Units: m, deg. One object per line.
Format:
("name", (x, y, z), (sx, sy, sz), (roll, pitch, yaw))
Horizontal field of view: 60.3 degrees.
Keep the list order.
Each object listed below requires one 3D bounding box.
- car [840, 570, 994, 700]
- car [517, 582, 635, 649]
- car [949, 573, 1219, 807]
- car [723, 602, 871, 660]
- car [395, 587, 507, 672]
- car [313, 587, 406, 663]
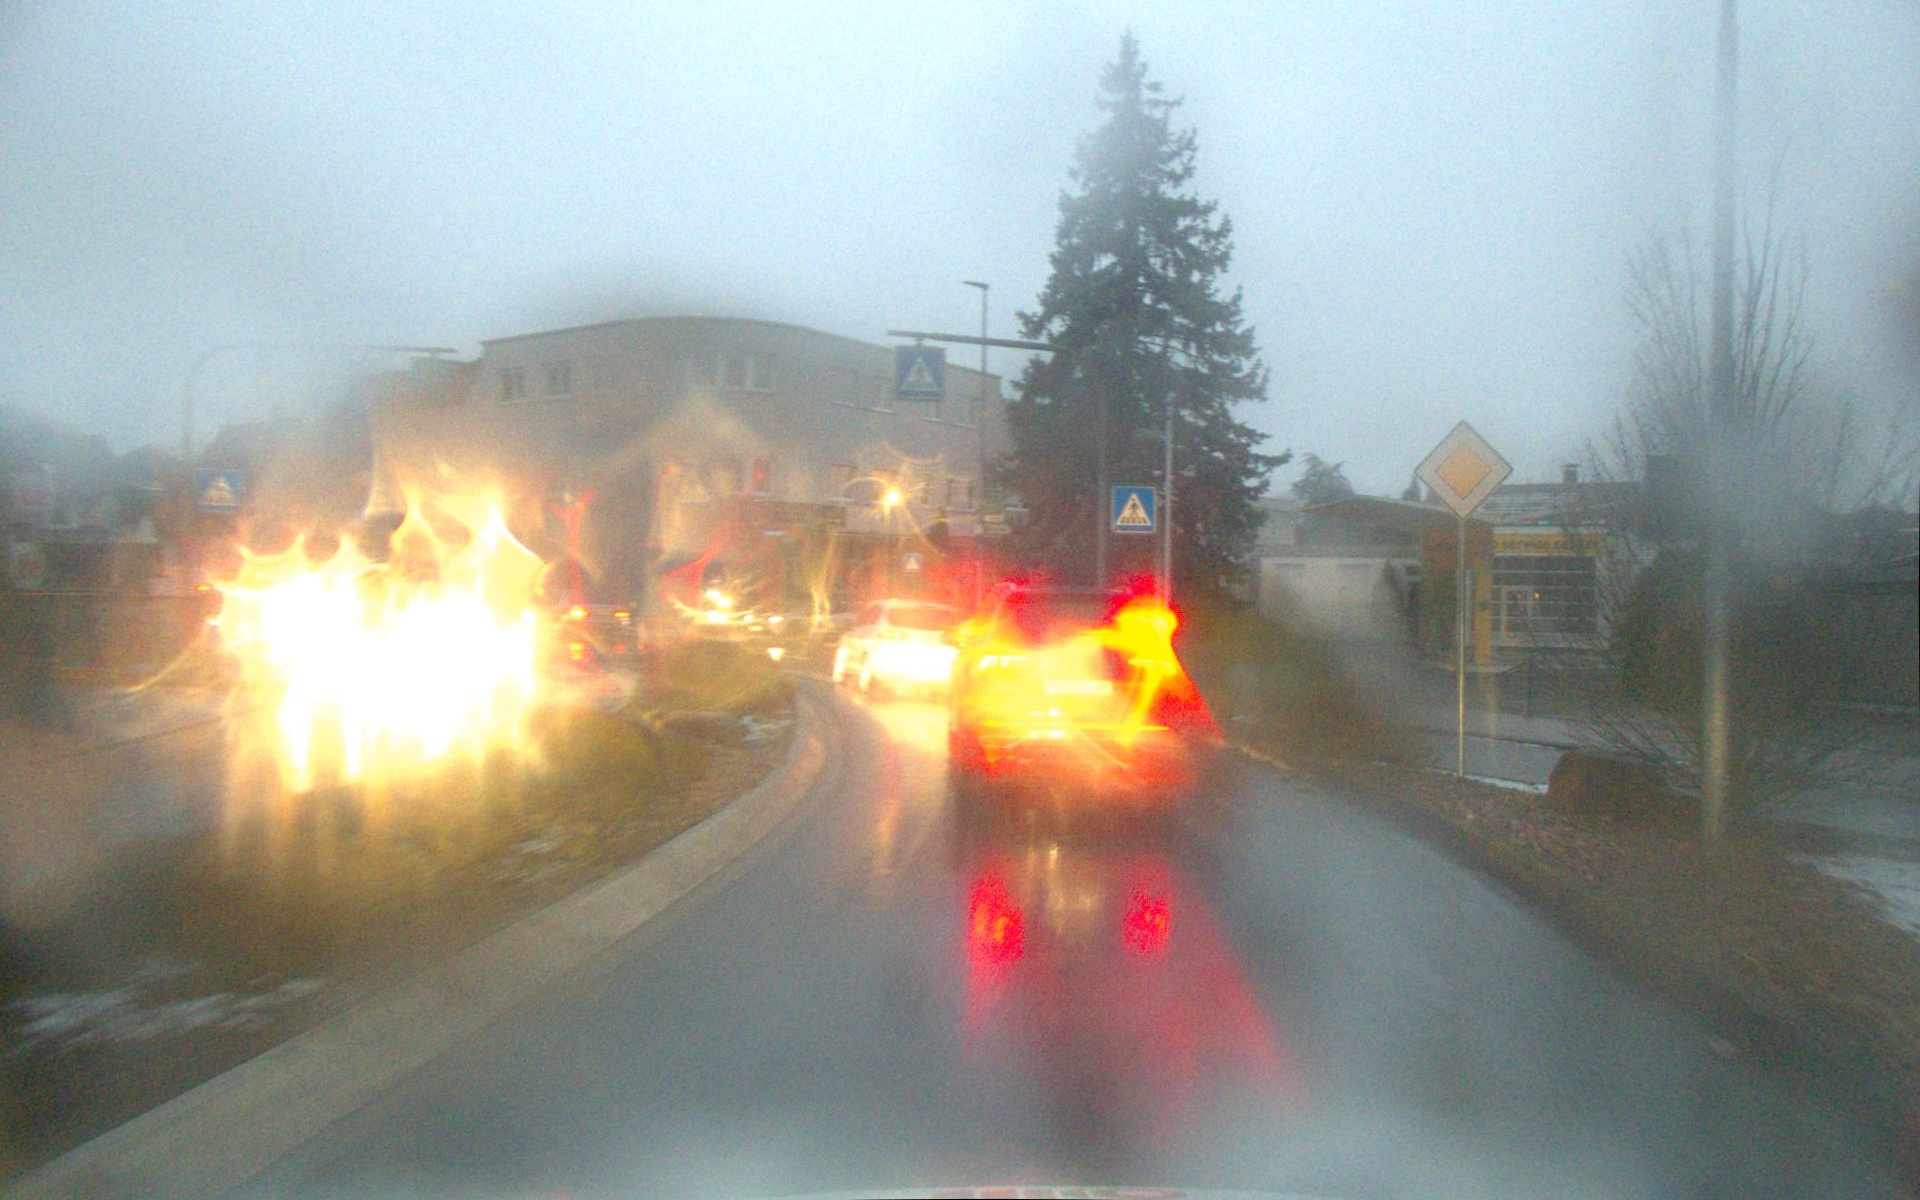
("car", (-0.792, 0.475, 26.838), (2.122, 1.718, 4.567), (-3, 2, -5))
("car", (-11.212, 0.408, 48.115), (2.043, 1.747, 4.523), (0, 2, -32))
("car", (0.929, 0.651, 14.522), (1.905, 1.748, 3.999), (1, 1, -2))
("car", (-4.925, 0.913, 50.508), (1.872, 1.599, 4.550), (2, 1, 38))
("car", (-14.071, 0.750, 45.576), (2.139, 2.096, 4.529), (0, 2, -28))
("car", (-18.275, 0.696, 50.234), (2.138, 2.096, 4.532), (0, 2, -27))
